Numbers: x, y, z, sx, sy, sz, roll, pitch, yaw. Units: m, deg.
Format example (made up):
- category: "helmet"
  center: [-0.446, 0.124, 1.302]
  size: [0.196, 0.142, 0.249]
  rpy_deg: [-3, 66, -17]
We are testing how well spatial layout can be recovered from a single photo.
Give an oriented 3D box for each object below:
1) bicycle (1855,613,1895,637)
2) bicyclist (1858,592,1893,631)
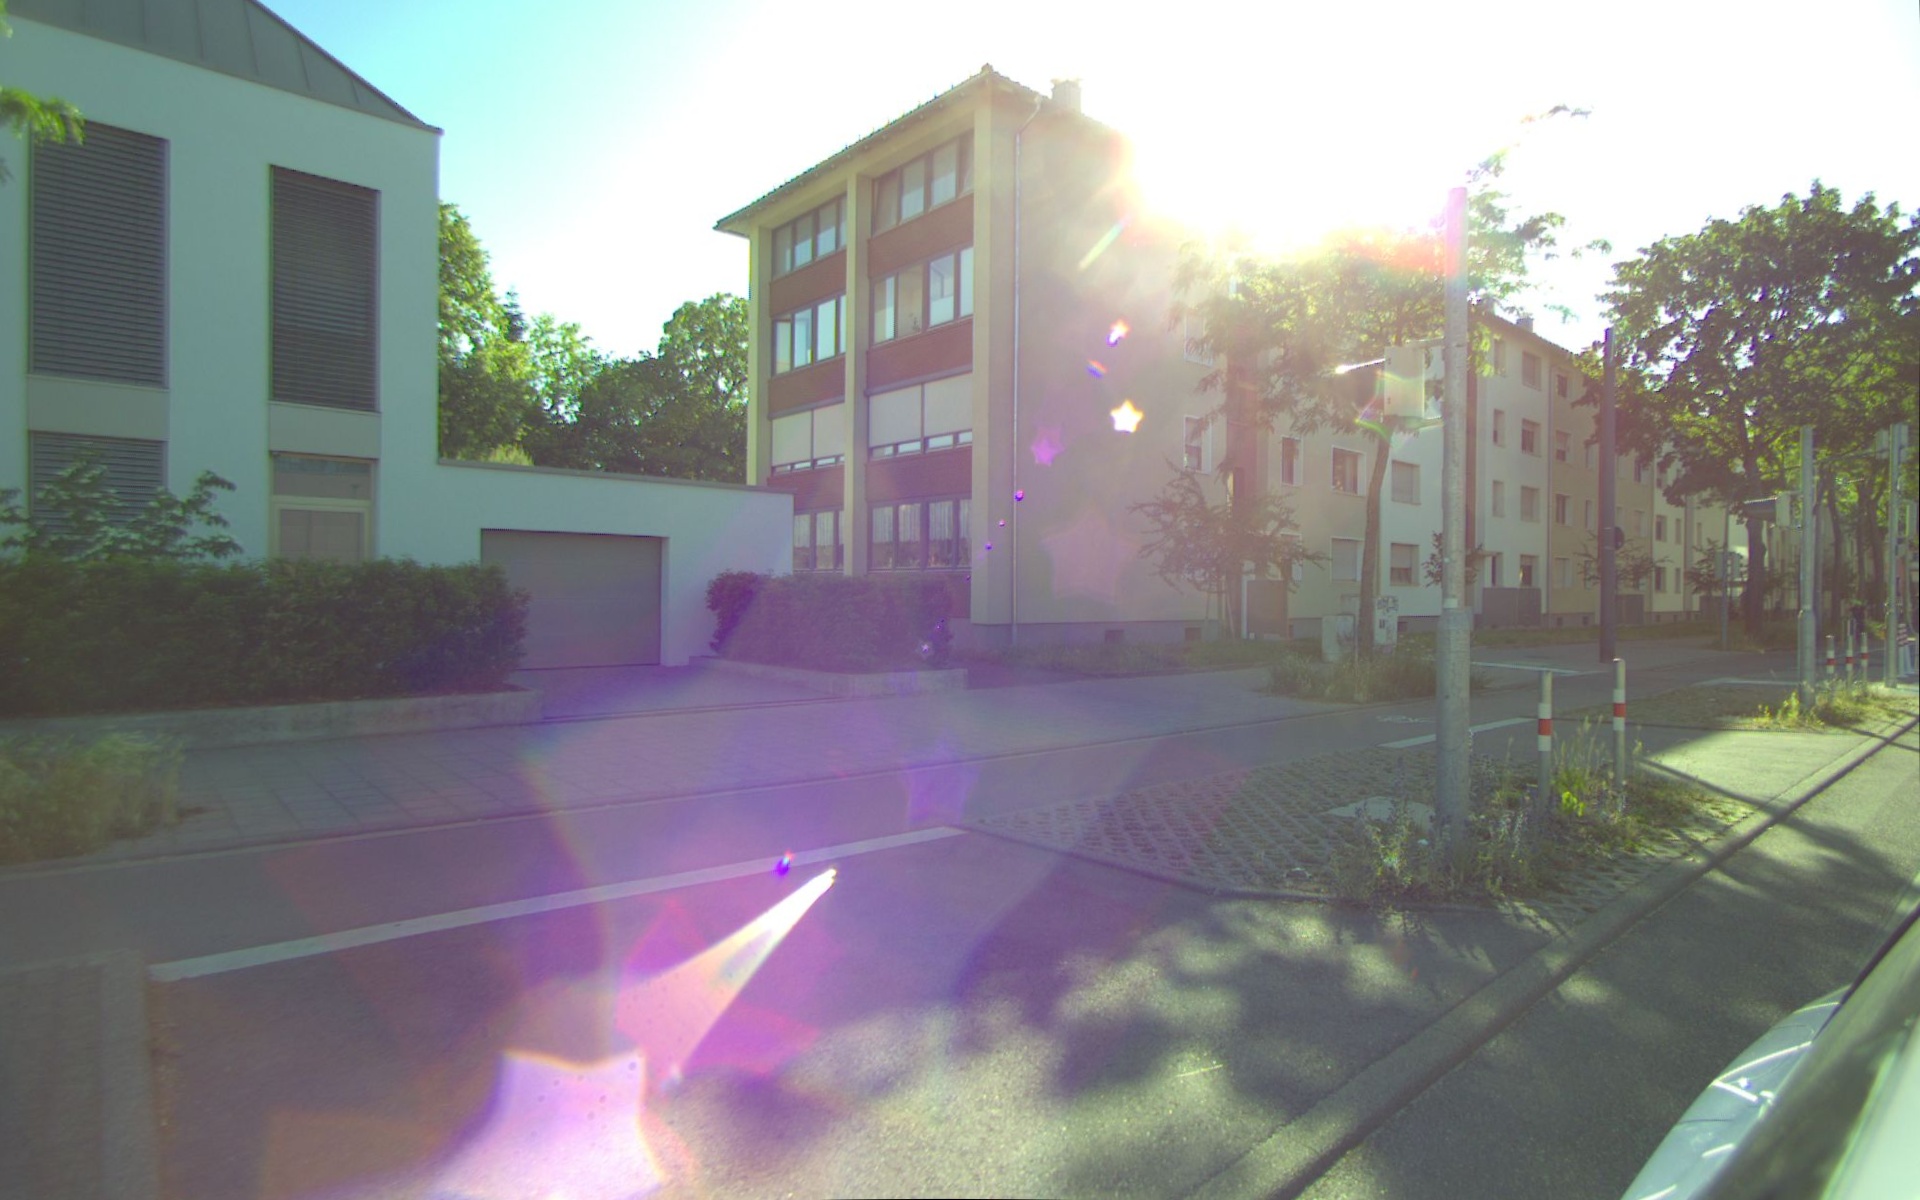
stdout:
- category: "bicycle"
  center: [36.902, 0.989, 40.800]
  size: [2.157, 0.897, 0.827]
  rpy_deg: [0, 1, -38]
- category: "bicyclist"
  center: [36.918, 0.452, 40.811]
  size: [1.235, 1.518, 0.819]
  rpy_deg: [0, 0, -37]
